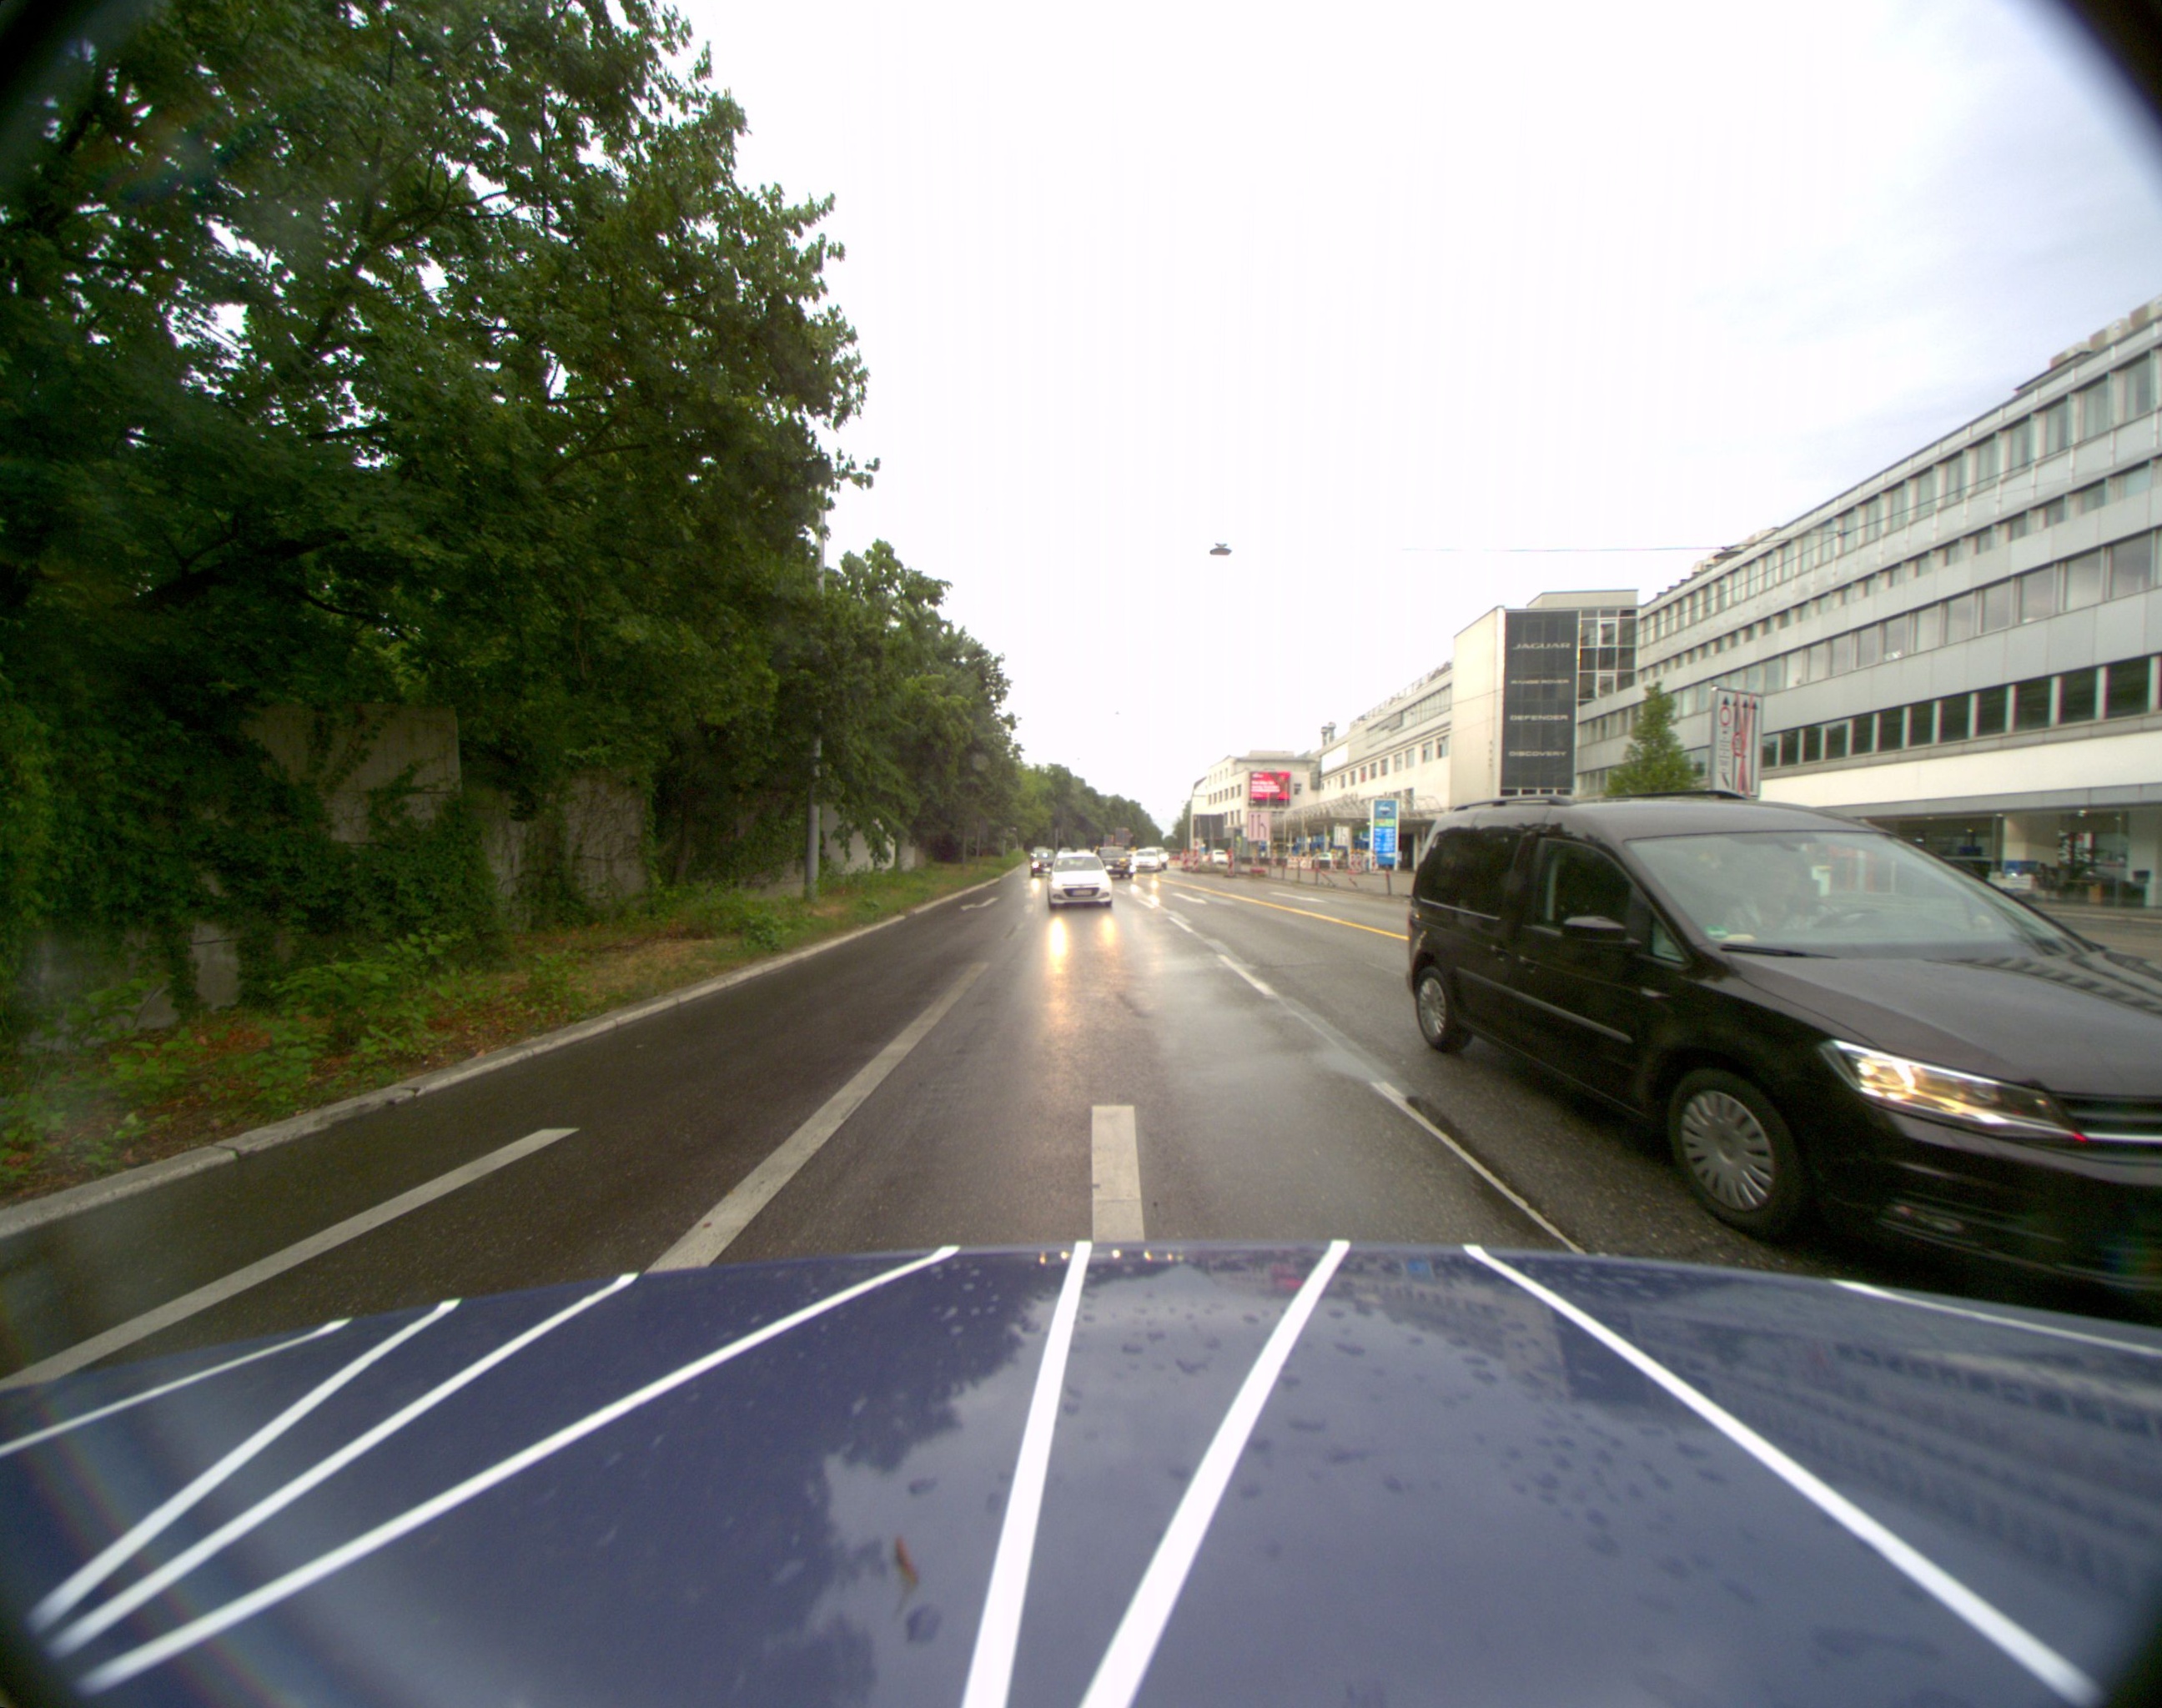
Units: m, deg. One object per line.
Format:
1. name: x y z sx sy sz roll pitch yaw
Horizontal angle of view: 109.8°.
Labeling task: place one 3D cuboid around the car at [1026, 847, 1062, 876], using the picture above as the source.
1. car: -2.182 0.429 46.275 1.814 1.590 4.333 -2 1 2

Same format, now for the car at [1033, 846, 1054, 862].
1. car: -3.890 -0.018 79.531 1.814 1.590 4.333 -2 1 2

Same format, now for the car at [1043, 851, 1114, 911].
1. car: 0.009 0.702 22.096 1.814 1.444 4.333 -2 1 2

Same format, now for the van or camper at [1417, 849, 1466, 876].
1. van or camper: 27.044 0.627 57.135 1.939 1.913 4.687 0 1 8

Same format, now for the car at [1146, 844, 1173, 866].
1. car: 6.181 0.064 60.003 1.771 1.608 3.949 -2 1 2

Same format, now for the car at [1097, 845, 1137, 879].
1. car: 1.835 0.367 39.842 1.814 1.590 4.332 -2 1 0

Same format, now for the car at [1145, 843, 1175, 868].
1. car: 5.670 0.086 54.956 1.771 1.628 4.333 -2 1 2

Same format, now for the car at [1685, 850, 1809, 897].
1. car: 28.276 0.776 32.457 1.922 1.805 4.166 -2 1 6

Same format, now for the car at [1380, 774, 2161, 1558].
1. car: 3.335 0.664 3.928 1.905 1.804 4.430 -2 1 2

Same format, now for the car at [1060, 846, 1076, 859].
1. car: -1.582 -0.194 93.904 1.814 1.590 4.333 -2 1 2

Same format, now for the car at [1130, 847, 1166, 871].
1. car: 4.372 0.279 49.281 1.769 1.407 4.336 -2 1 12

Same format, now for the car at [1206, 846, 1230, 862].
1. car: 14.378 0.030 79.950 1.805 1.523 3.764 3 0 0

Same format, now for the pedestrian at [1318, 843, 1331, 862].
1. pedestrian: 23.620 -0.157 73.728 0.895 1.804 0.941 -2 1 5
